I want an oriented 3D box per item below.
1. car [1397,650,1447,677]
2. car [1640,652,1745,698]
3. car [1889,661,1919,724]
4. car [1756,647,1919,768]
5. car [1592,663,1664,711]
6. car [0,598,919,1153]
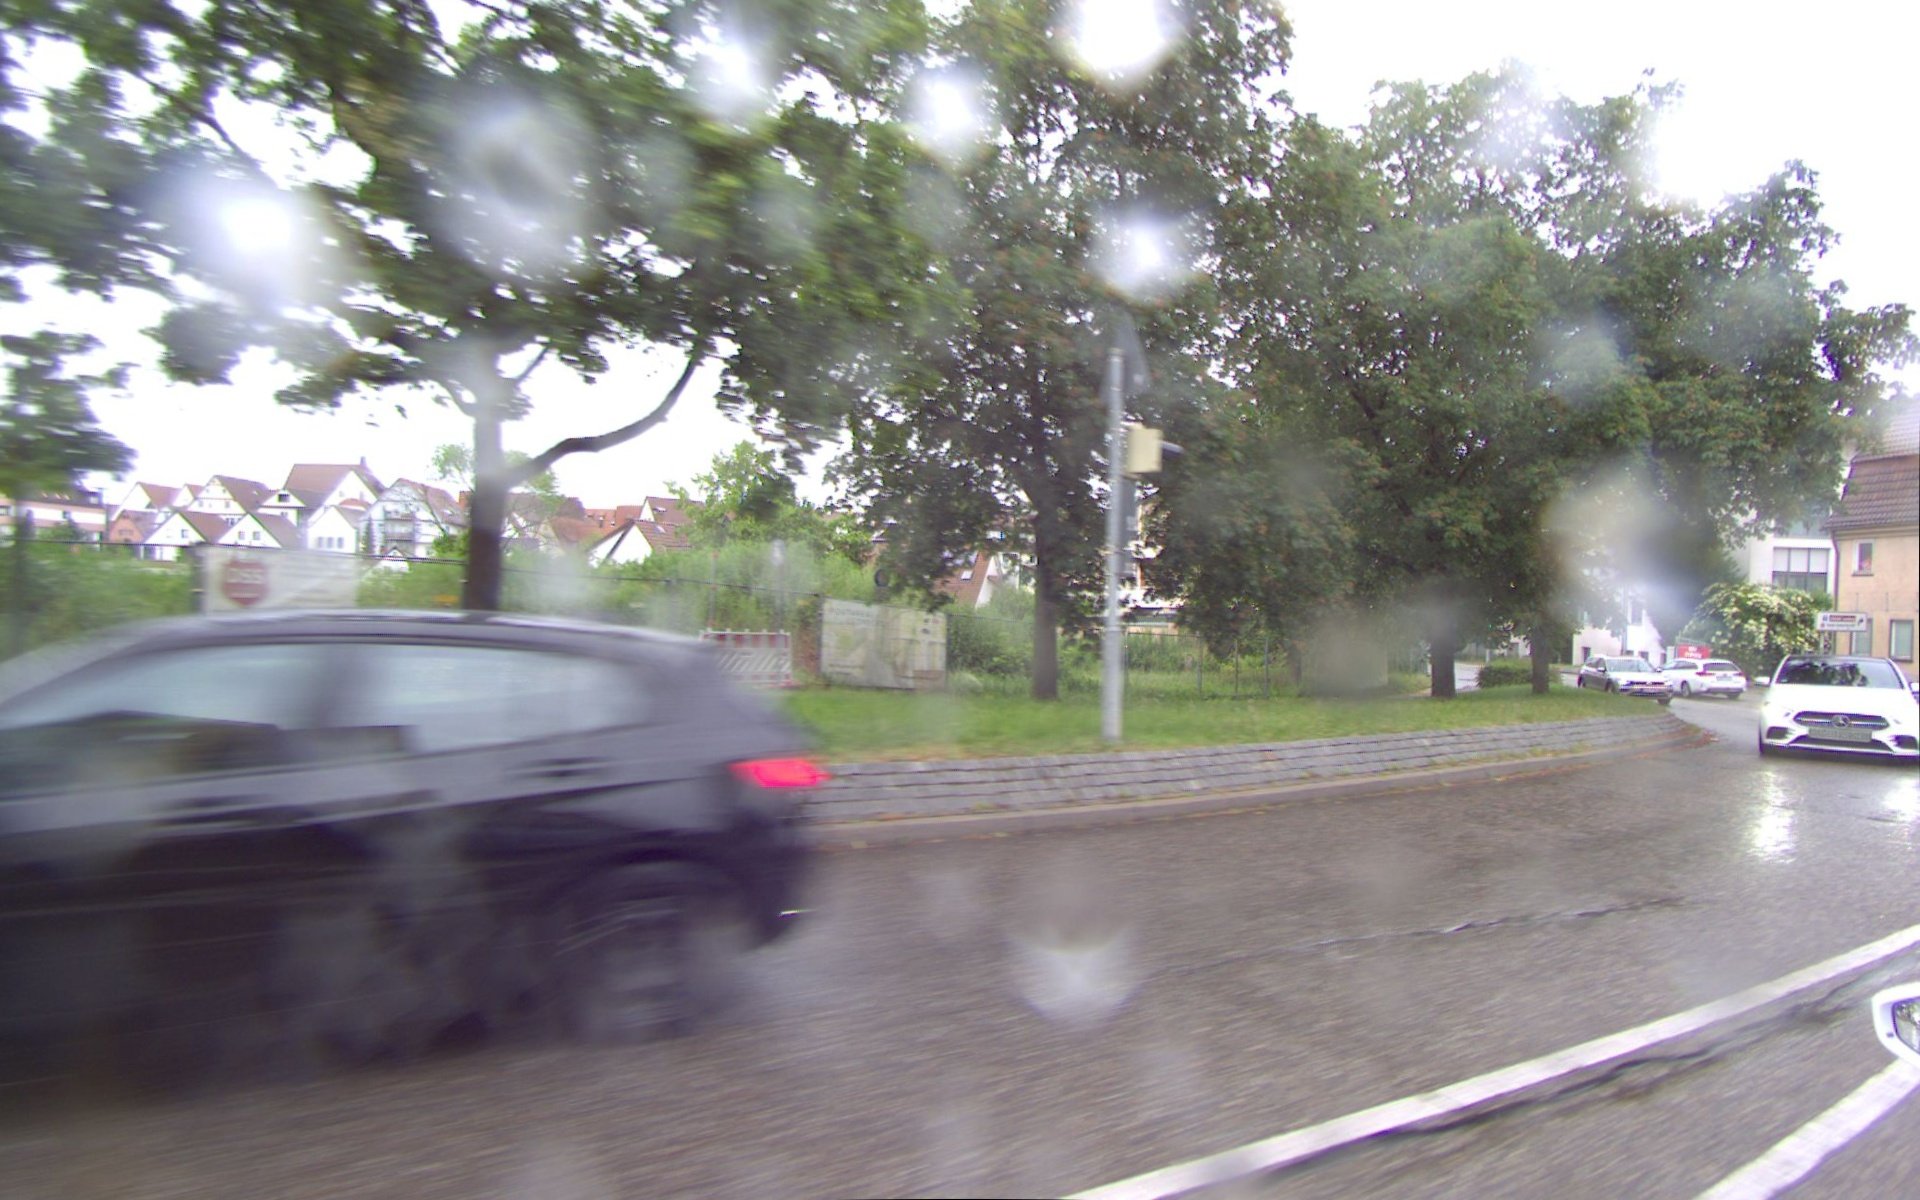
[{"bbox_3d":[30.936,4.224,67.349,1.861,1.611,3.690,1,-1,5],"label":"car"},{"bbox_3d":[28.298,2.881,38.948,1.698,1.611,4.188,2,-3,12],"label":"car"},{"bbox_3d":[23.051,2.205,22.923,1.791,1.378,3.983,2,0,29],"label":"car"},{"bbox_3d":[13.430,1.538,15.318,1.705,1.524,4.235,0,-2,43],"label":"car"},{"bbox_3d":[24.487,3.181,36.955,1.701,1.563,4.297,1,-3,27],"label":"car"},{"bbox_3d":[-2.328,0.740,3.665,4.005,1.429,1.728,2,-1,-29],"label":"car"}]
